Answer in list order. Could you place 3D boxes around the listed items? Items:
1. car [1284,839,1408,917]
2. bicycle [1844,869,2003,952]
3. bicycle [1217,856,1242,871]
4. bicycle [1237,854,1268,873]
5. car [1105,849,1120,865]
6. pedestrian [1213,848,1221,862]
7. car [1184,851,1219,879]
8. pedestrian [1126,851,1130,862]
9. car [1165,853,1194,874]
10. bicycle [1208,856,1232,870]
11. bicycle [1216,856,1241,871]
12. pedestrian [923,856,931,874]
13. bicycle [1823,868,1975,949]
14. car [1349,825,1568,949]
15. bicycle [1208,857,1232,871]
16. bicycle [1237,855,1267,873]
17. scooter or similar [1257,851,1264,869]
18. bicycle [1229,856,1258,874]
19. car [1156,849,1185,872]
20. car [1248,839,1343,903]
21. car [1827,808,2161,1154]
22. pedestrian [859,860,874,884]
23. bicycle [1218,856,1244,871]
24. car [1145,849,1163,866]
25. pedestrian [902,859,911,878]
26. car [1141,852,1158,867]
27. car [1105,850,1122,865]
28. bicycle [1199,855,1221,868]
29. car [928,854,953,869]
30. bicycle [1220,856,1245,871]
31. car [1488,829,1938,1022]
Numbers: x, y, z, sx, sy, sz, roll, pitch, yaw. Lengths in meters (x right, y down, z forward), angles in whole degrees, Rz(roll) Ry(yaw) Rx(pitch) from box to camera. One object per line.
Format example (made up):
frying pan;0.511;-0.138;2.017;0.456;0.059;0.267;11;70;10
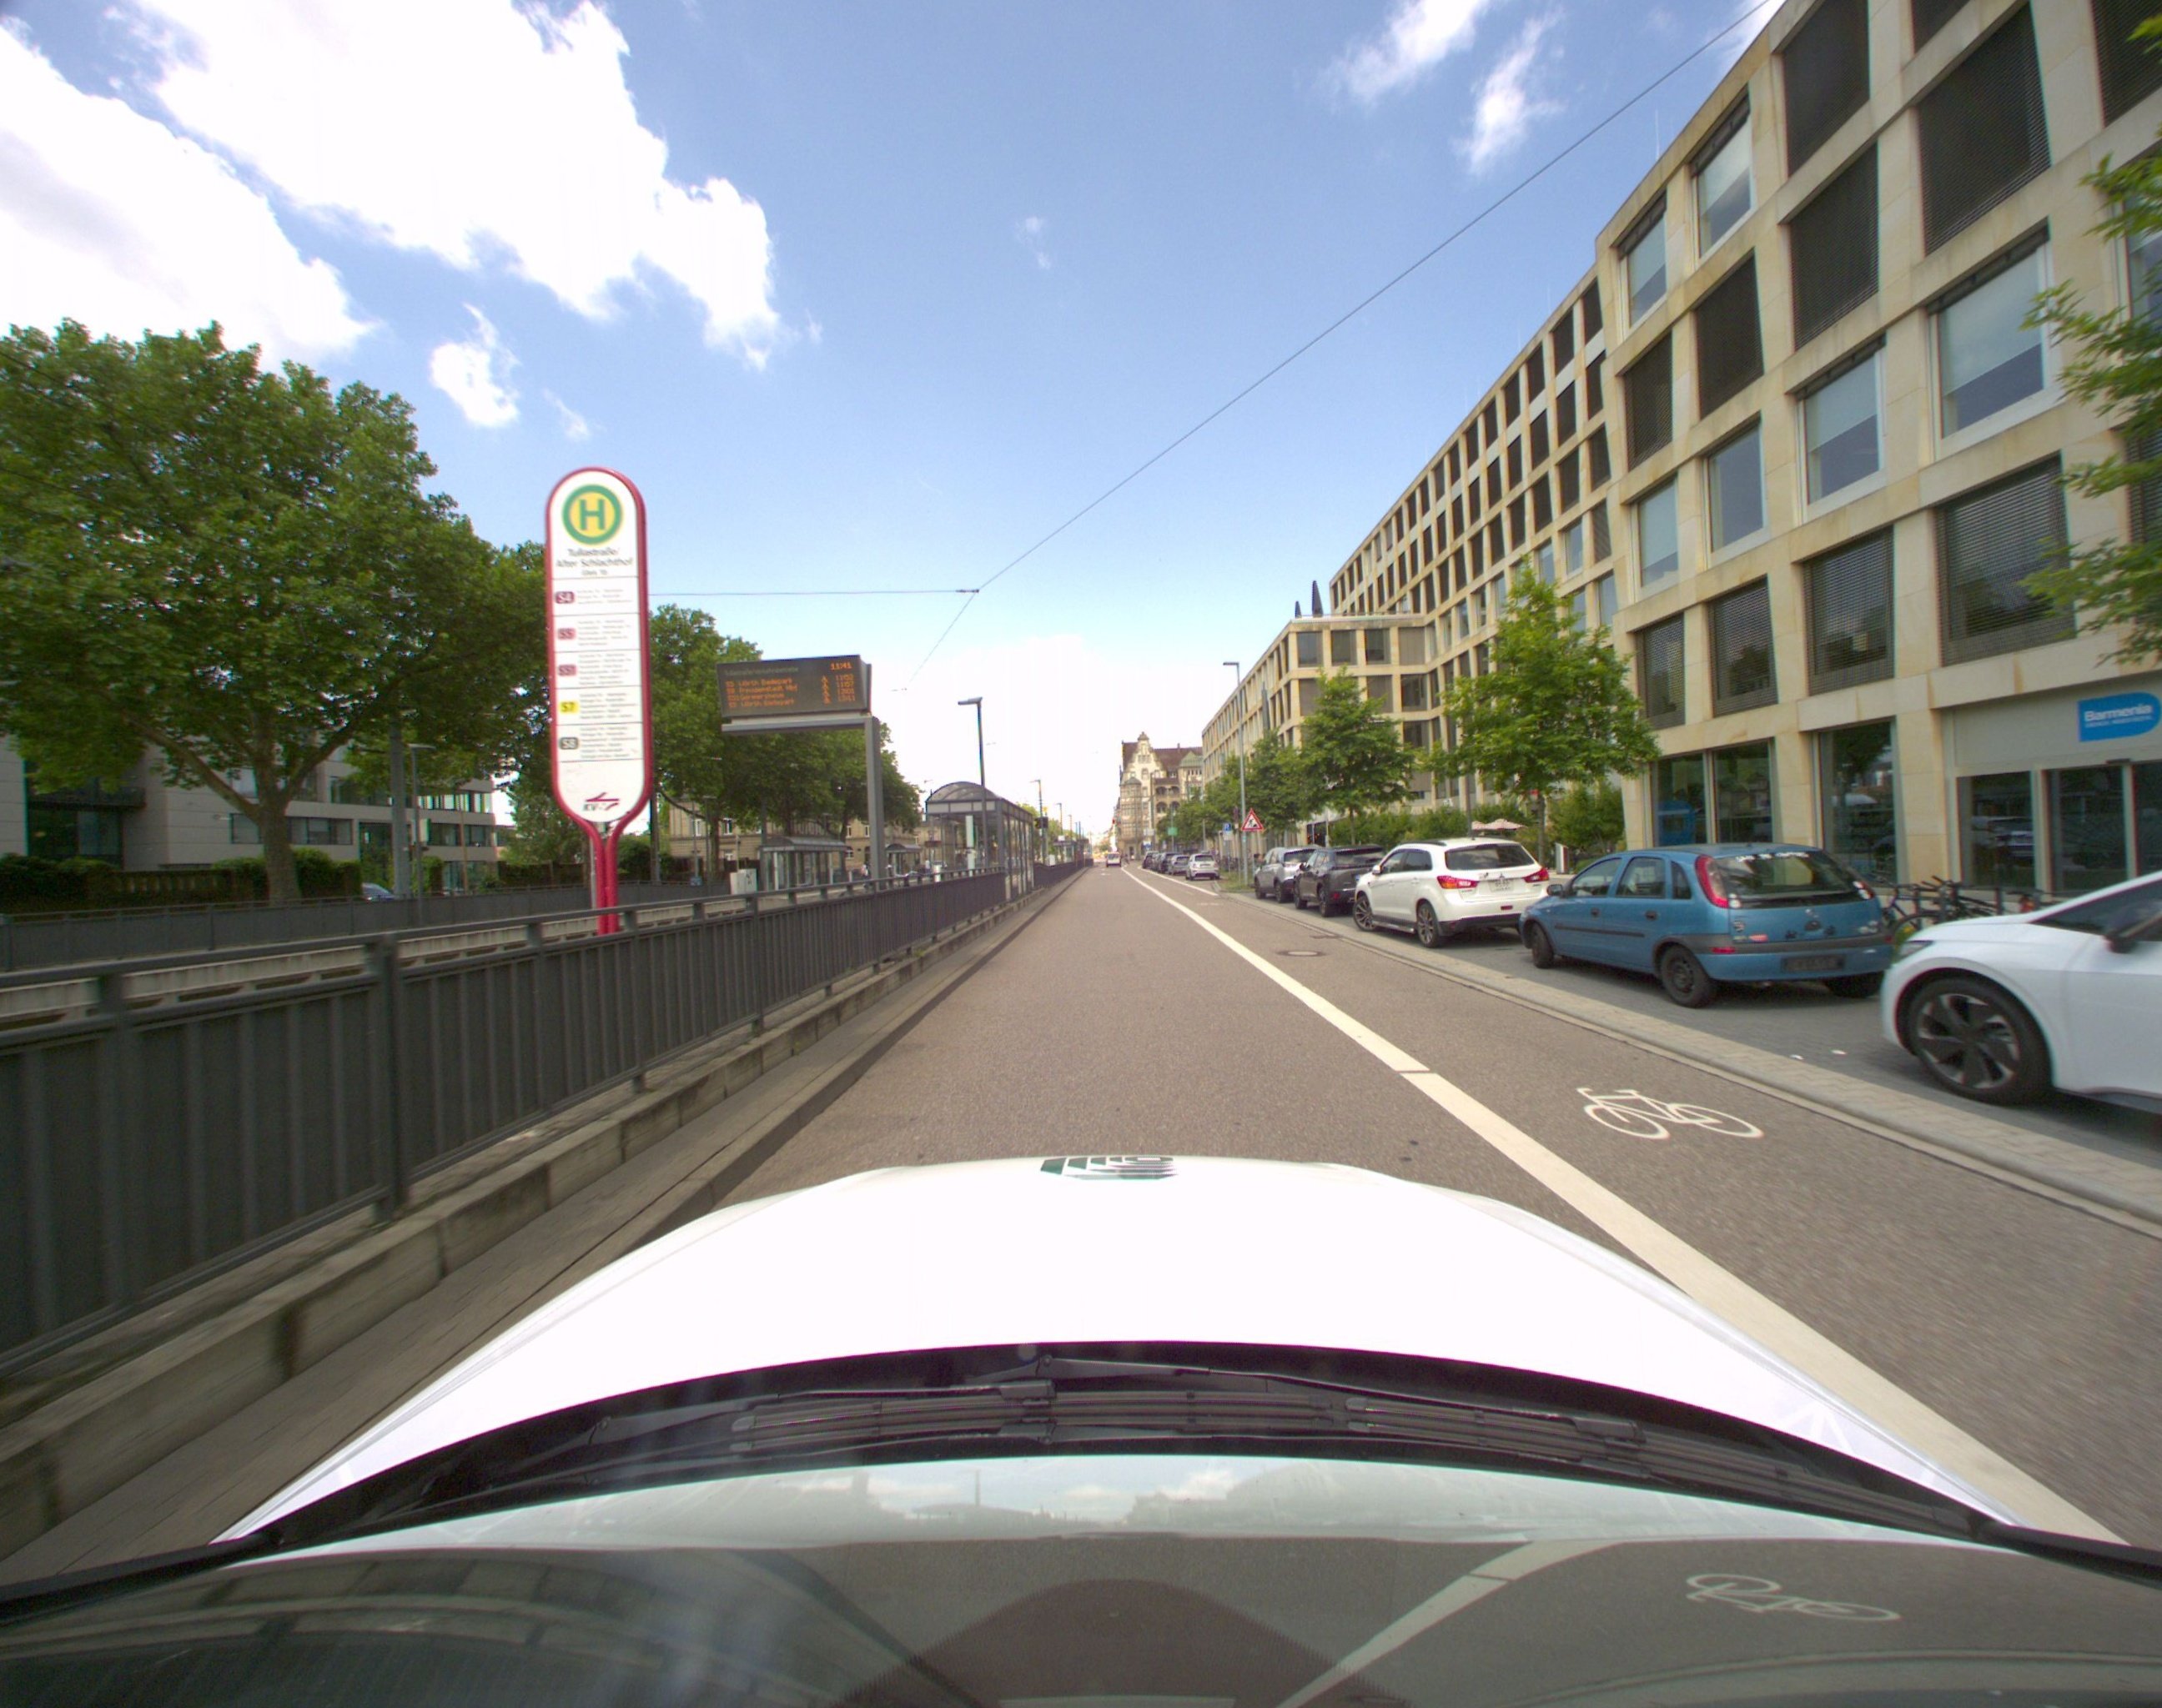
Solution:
car;6.104;0.502;19.229;1.679;1.548;3.928;-4;0;2
bicycle;9.581;0.641;9.280;1.376;0.876;0.271;-3;-3;4
bicycle;10.890;0.693;59.692;1.746;0.986;0.326;-3;-1;0
bicycle;10.635;0.604;50.493;1.815;1.076;0.275;-3;-1;5
car;4.156;0.375;108.820;1.862;2.020;4.001;-1;0;1
pedestrian;16.464;0.125;98.354;0.757;1.670;0.659;-2;0;1
car;6.818;0.603;46.284;1.585;1.460;3.615;-1;0;3
pedestrian;6.911;0.400;120.224;0.532;1.572;0.542;-4;-1;-1
car;6.887;0.628;57.273;1.586;1.434;4.106;-1;0;0
bicycle;11.177;0.720;65.643;1.815;1.030;0.585;-3;-1;4
bicycle;10.897;0.695;60.040;1.746;0.986;0.326;-3;-1;0
pedestrian;-14.558;1.077;77.157;0.498;1.683;0.643;-3;0;2
bicycle;9.610;0.641;9.585;1.376;0.876;0.271;-3;-3;4
car;5.927;0.460;13.385;1.679;1.606;4.153;-4;0;2
bicycle;11.094;0.785;64.846;1.815;1.030;0.433;-3;-1;4
bicycle;10.658;0.610;50.794;1.815;1.076;0.275;-3;-1;5
scooter or similar;12.181;0.417;55.325;0.257;1.215;1.015;-2;0;1
bicycle;10.593;0.706;53.129;1.815;1.076;0.687;-3;-1;5
car;6.884;0.485;63.259;1.732;1.669;4.840;-1;0;0
car;6.348;0.484;24.543;1.680;1.633;3.989;-5;0;0
car;5.744;0.541;3.216;1.786;1.529;4.160;-4;0;2
pedestrian;-13.970;1.166;53.071;0.700;1.512;0.802;-3;0;-2
bicycle;10.930;0.689;59.332;1.746;0.986;0.326;-3;-1;0
car;7.962;0.343;89.105;1.704;1.796;3.361;-1;0;0
pedestrian;-14.162;1.169;66.115;0.498;1.558;0.643;-2;0;2
car;7.051;0.585;84.127;1.438;1.470;4.092;-1;0;0
car;3.926;0.413;98.930;1.862;1.746;4.001;-1;0;1
bicycle;11.280;0.651;71.366;1.833;1.030;0.340;-4;-1;0
car;-16.728;0.858;97.128;1.986;1.705;4.821;-2;-1;1
bicycle;10.956;0.686;58.989;1.746;0.986;0.326;-3;-1;0
car;6.119;0.585;8.592;1.679;1.457;3.952;-4;0;2
